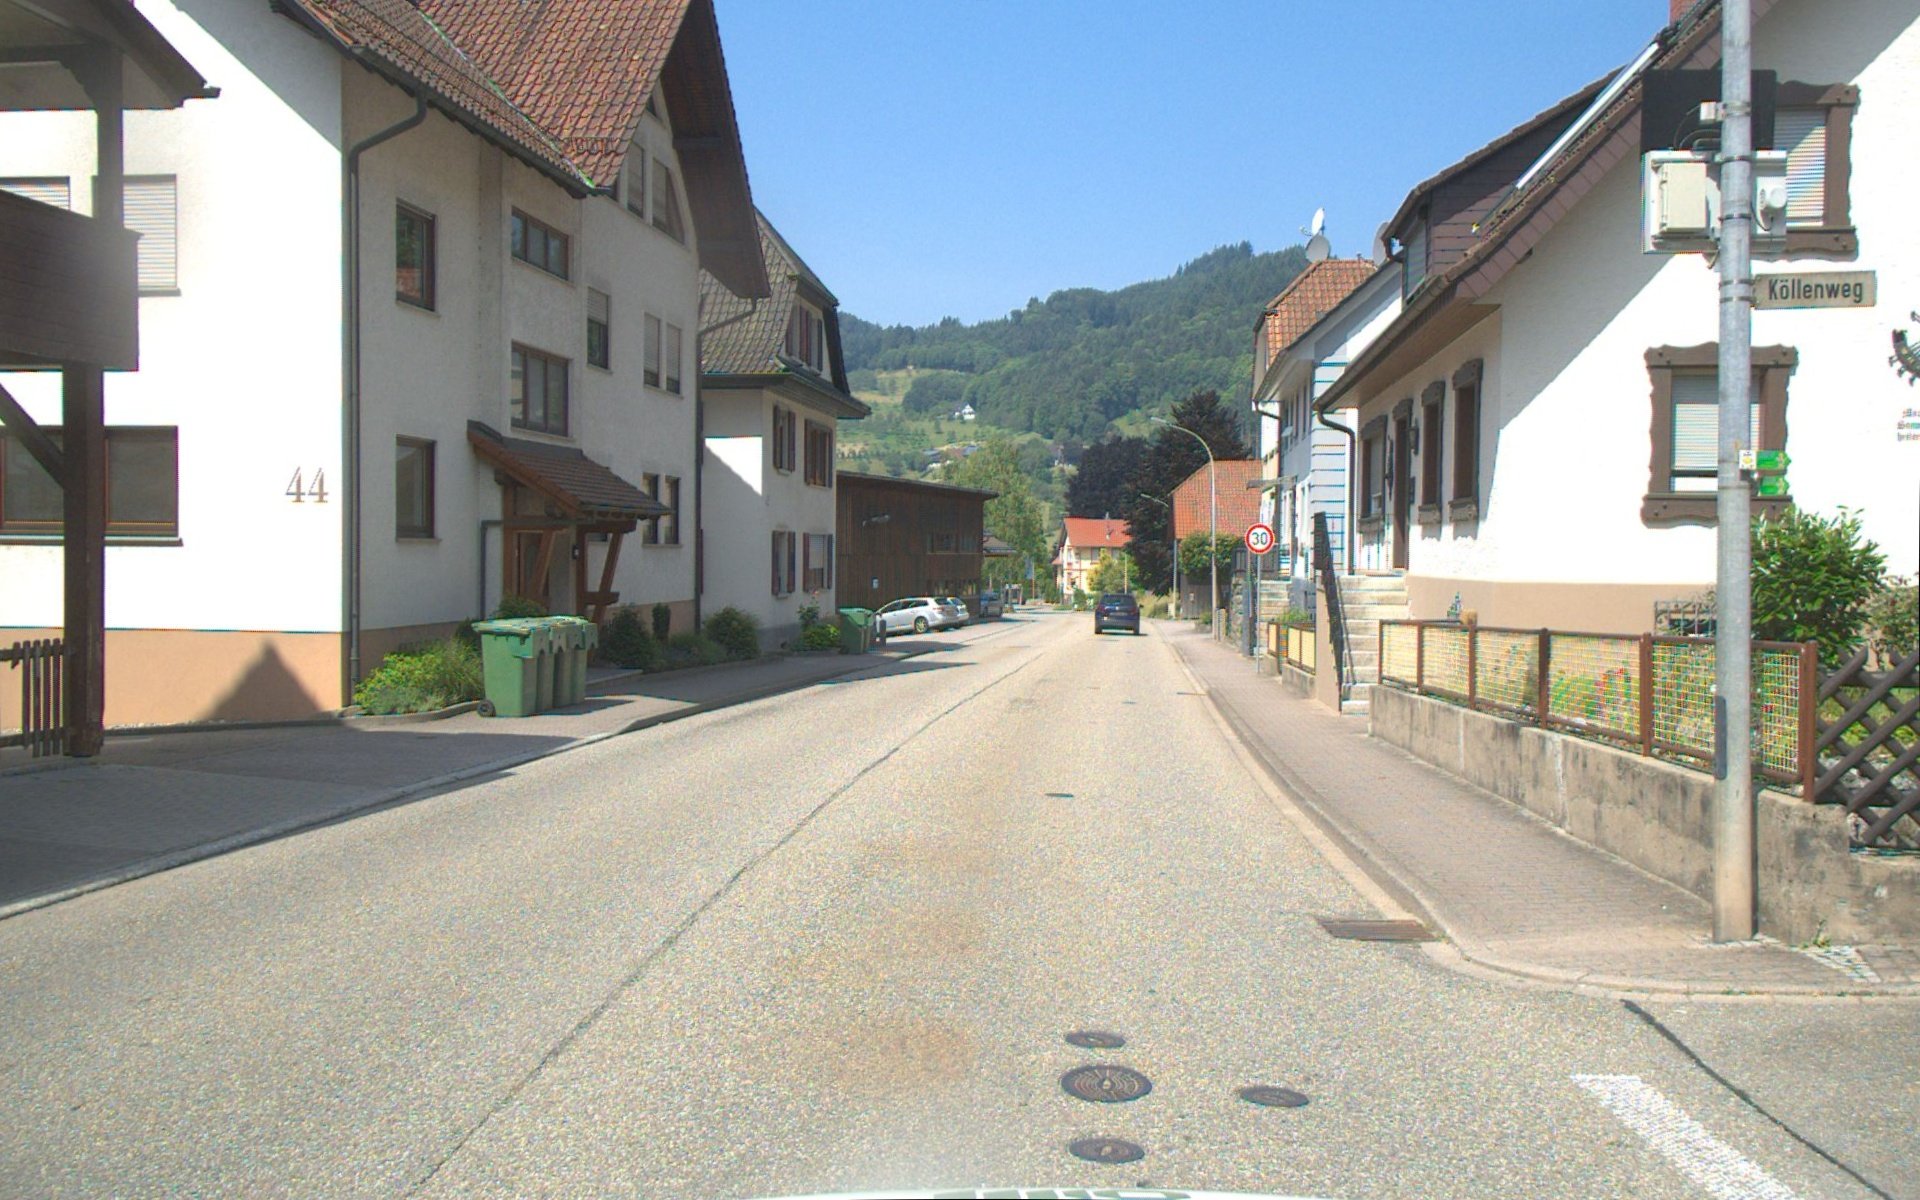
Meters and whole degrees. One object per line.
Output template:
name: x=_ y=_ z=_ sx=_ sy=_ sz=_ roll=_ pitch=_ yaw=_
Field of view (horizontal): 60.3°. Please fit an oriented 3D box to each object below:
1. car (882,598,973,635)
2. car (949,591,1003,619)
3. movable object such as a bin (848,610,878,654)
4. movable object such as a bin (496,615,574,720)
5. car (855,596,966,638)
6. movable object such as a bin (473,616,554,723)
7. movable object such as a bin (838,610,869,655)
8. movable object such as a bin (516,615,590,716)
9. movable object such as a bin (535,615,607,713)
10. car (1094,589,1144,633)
car: x=-1.428 y=0.731 z=73.308 sx=3.584 sy=1.409 sz=1.711 roll=-4 pitch=-1 yaw=21
car: x=0.963 y=0.267 z=97.225 sx=1.693 sy=1.479 sz=4.806 roll=1 pitch=1 yaw=19
movable object such as a bin: x=-2.404 y=0.781 z=40.962 sx=0.661 sy=1.085 sz=0.622 roll=0 pitch=0 yaw=4
movable object such as a bin: x=-5.067 y=0.798 z=19.748 sx=0.702 sy=1.202 sz=0.598 roll=-1 pitch=0 yaw=6
car: x=-2.119 y=0.729 z=70.649 sx=4.349 sy=1.500 sz=1.920 roll=-4 pitch=-1 yaw=32
movable object such as a bin: x=-5.147 y=0.794 z=19.092 sx=0.702 sy=1.202 sz=0.598 roll=-1 pitch=0 yaw=6
movable object such as a bin: x=-2.590 y=0.781 z=40.214 sx=0.661 sy=1.085 sz=0.654 roll=0 pitch=0 yaw=4
movable object such as a bin: x=-5.015 y=0.802 z=20.398 sx=0.702 sy=1.202 sz=0.598 roll=-1 pitch=0 yaw=6
movable object such as a bin: x=-4.949 y=0.806 z=21.052 sx=0.702 sy=1.202 sz=0.598 roll=-1 pitch=0 yaw=6
car: x=6.424 y=0.438 z=66.440 sx=1.879 sy=1.728 sz=3.791 roll=0 pitch=0 yaw=7
